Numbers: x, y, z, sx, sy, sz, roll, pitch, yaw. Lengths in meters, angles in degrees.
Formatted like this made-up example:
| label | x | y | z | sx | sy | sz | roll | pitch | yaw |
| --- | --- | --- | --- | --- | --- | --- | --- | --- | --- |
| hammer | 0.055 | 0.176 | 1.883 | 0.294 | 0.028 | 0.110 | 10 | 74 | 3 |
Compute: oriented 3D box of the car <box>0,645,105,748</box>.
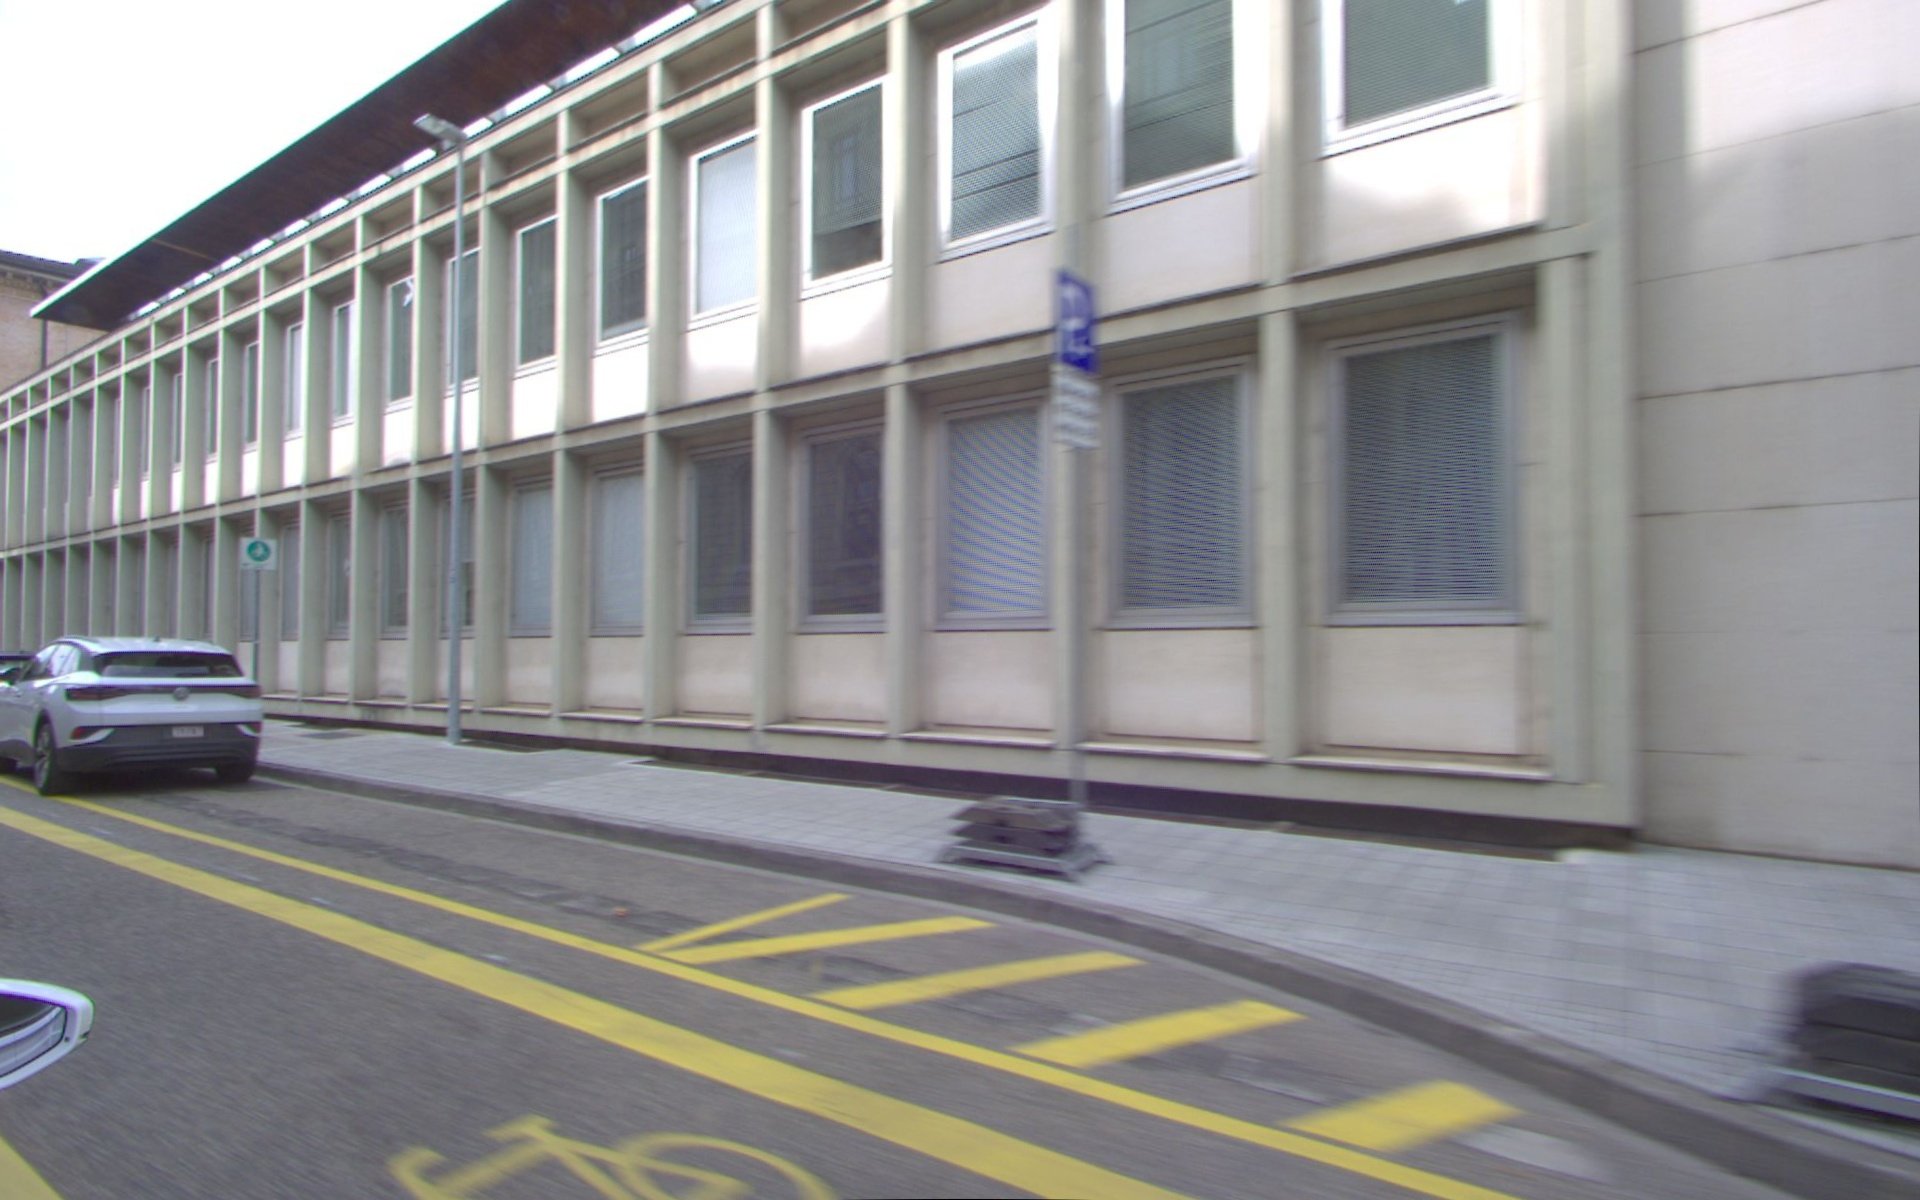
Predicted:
| label | x | y | z | sx | sy | sz | roll | pitch | yaw |
| --- | --- | --- | --- | --- | --- | --- | --- | --- | --- |
| car | -15.002 | 1.453 | 15.629 | 3.838 | 1.452 | 1.676 | -2 | -5 | 37 |

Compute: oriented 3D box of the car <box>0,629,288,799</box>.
| label | x | y | z | sx | sy | sz | roll | pitch | yaw |
| --- | --- | --- | --- | --- | --- | --- | --- | --- | --- |
| car | -9.827 | 1.248 | 11.695 | 4.455 | 1.623 | 1.856 | -2 | -6 | 37 |
